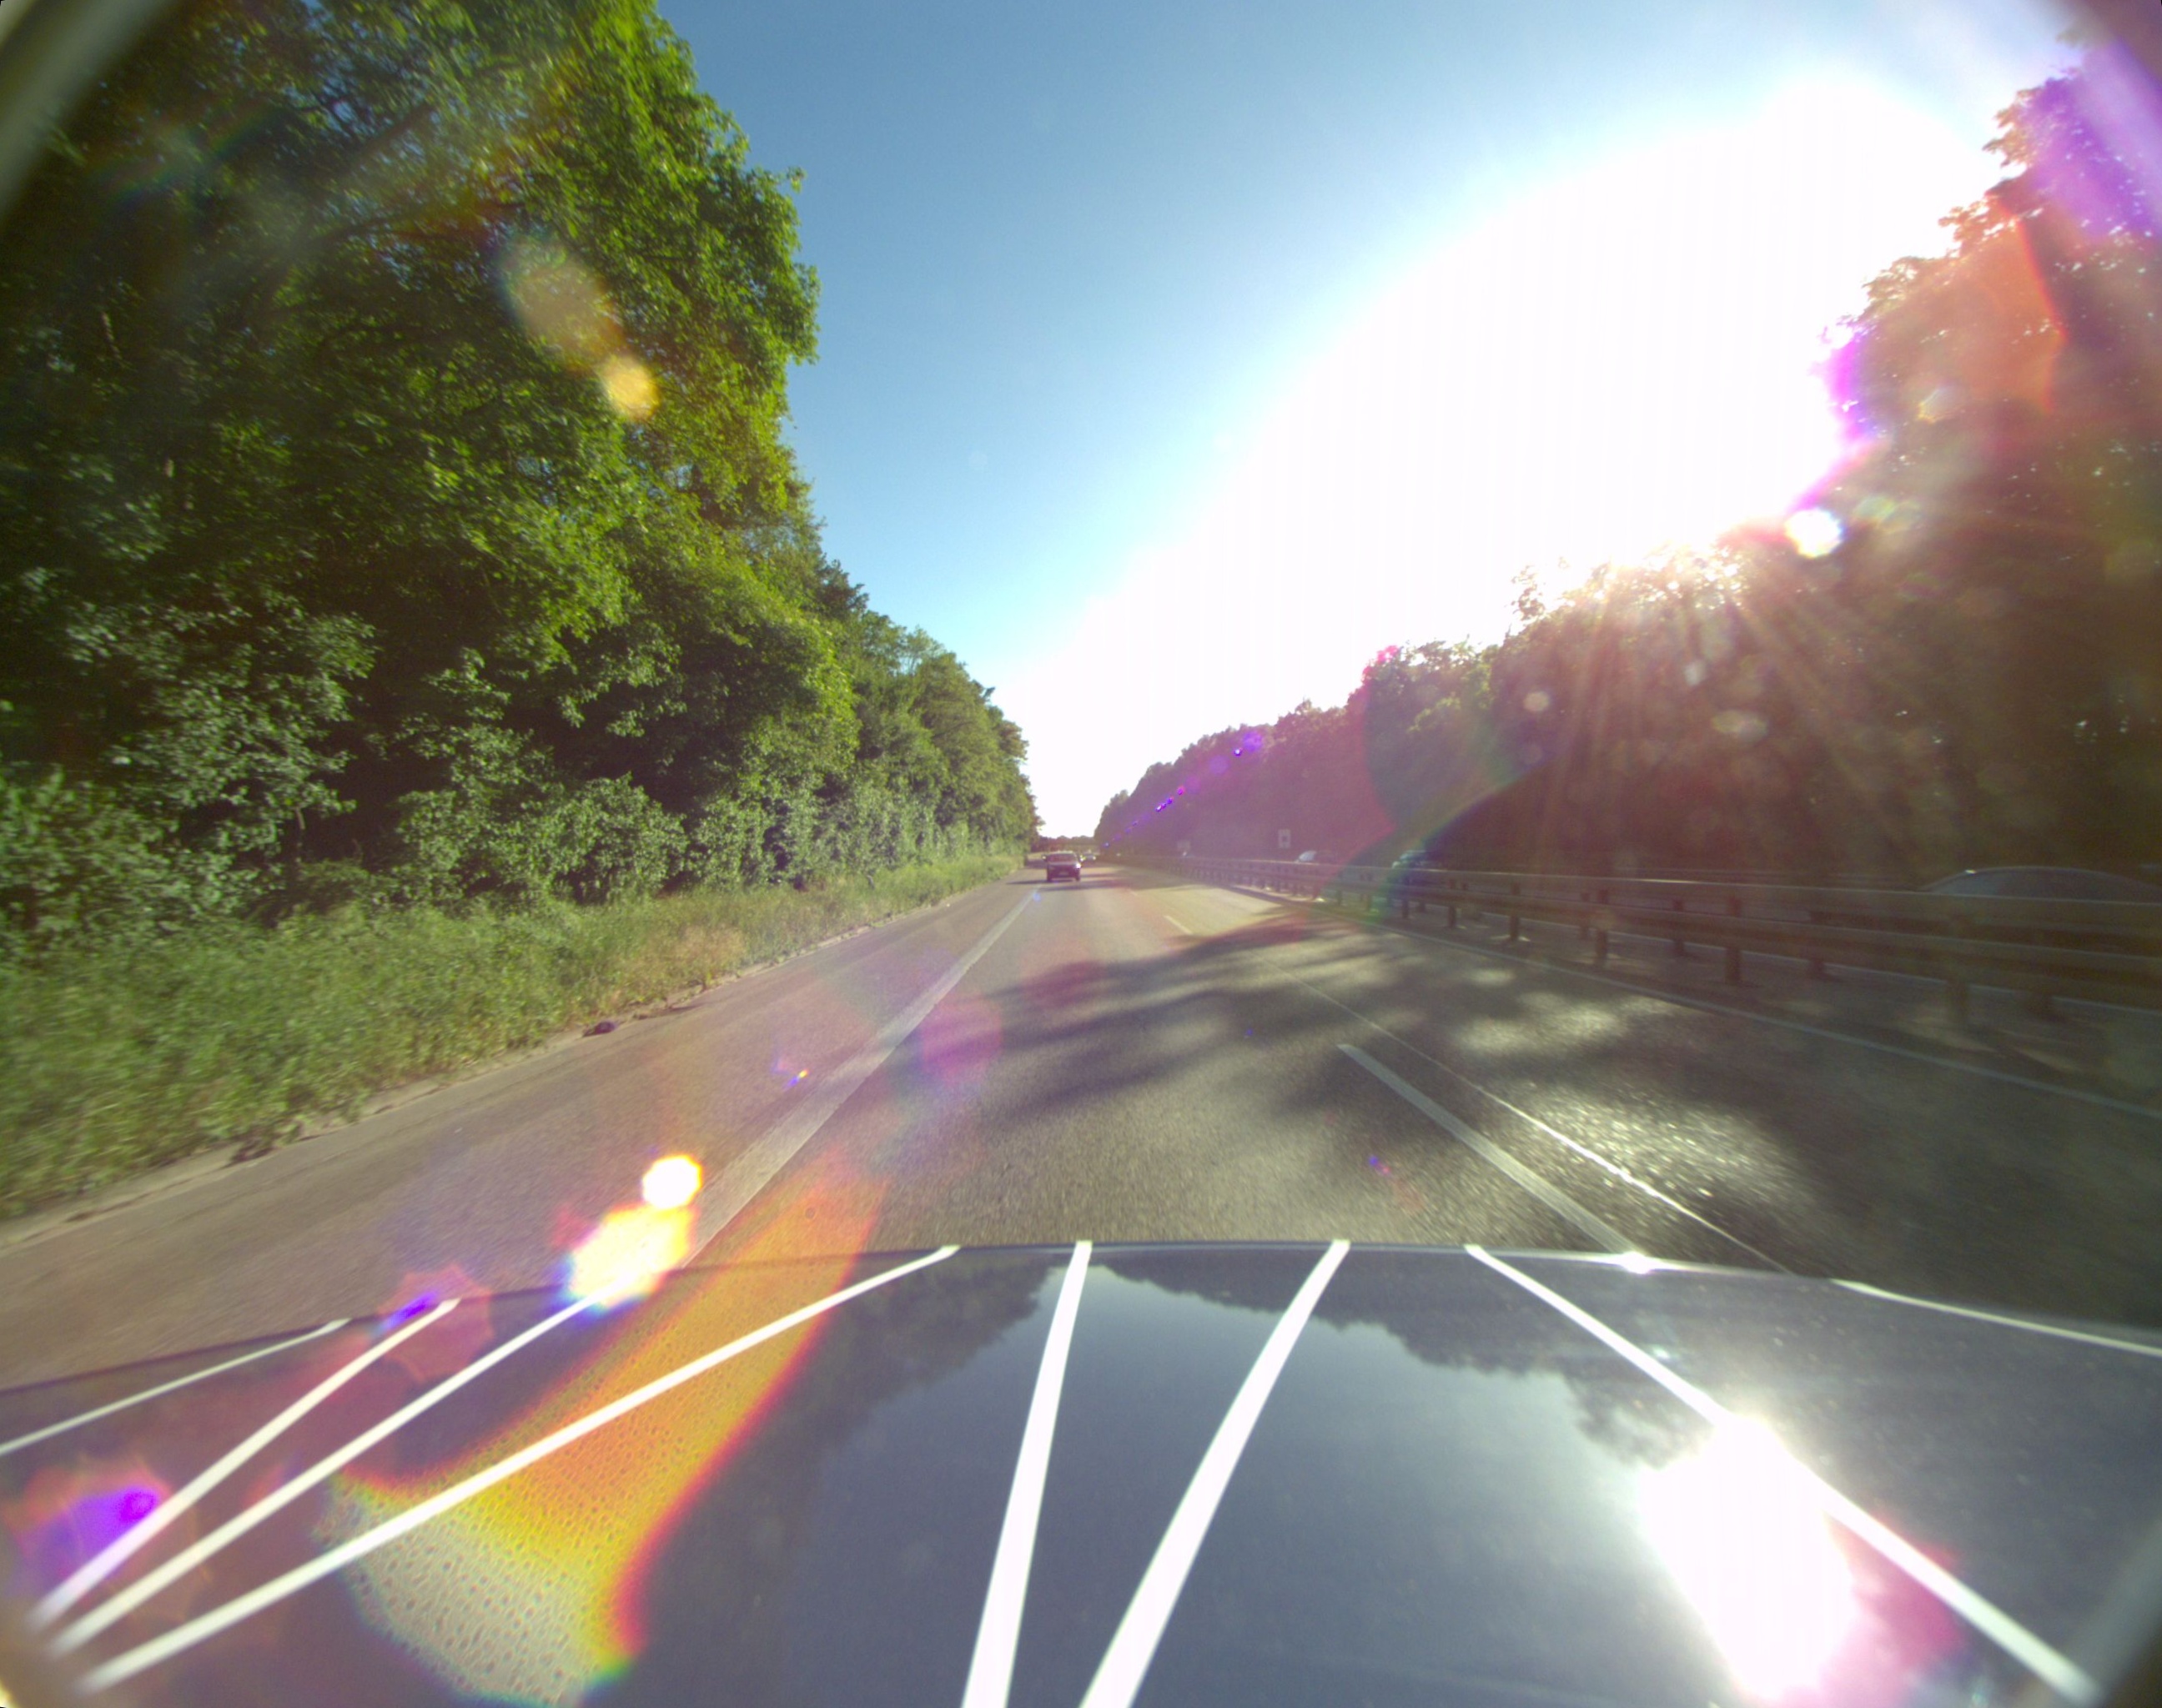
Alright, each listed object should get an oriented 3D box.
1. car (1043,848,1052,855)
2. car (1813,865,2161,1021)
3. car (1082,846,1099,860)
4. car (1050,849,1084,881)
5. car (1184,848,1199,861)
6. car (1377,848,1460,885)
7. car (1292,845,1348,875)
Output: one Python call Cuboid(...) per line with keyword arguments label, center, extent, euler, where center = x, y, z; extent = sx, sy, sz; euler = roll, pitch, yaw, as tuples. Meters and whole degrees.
Cuboid(label="car", center=(-7.794, -0.535, 177.122), extent=(1.713, 1.565, 3.422), euler=(-2, 1, 0))
Cuboid(label="car", center=(11.396, 0.917, 8.833), extent=(1.601, 1.445, 4.345), euler=(1, 0, 1))
Cuboid(label="car", center=(1.250, -0.177, 103.143), extent=(1.999, 1.793, 3.998), euler=(1, 1, -3))
Cuboid(label="car", center=(-0.722, 0.549, 40.434), extent=(1.713, 1.565, 3.422), euler=(-2, 1, 0))
Cuboid(label="car", center=(13.510, 0.035, 93.040), extent=(1.417, 1.610, 2.874), euler=(0, 1, -1))
Cuboid(label="car", center=(15.536, 0.545, 35.203), extent=(1.999, 1.576, 3.999), euler=(1, 1, -1))
Cuboid(label="car", center=(15.116, 0.346, 48.236), extent=(1.999, 1.740, 4.549), euler=(1, 1, -1))
